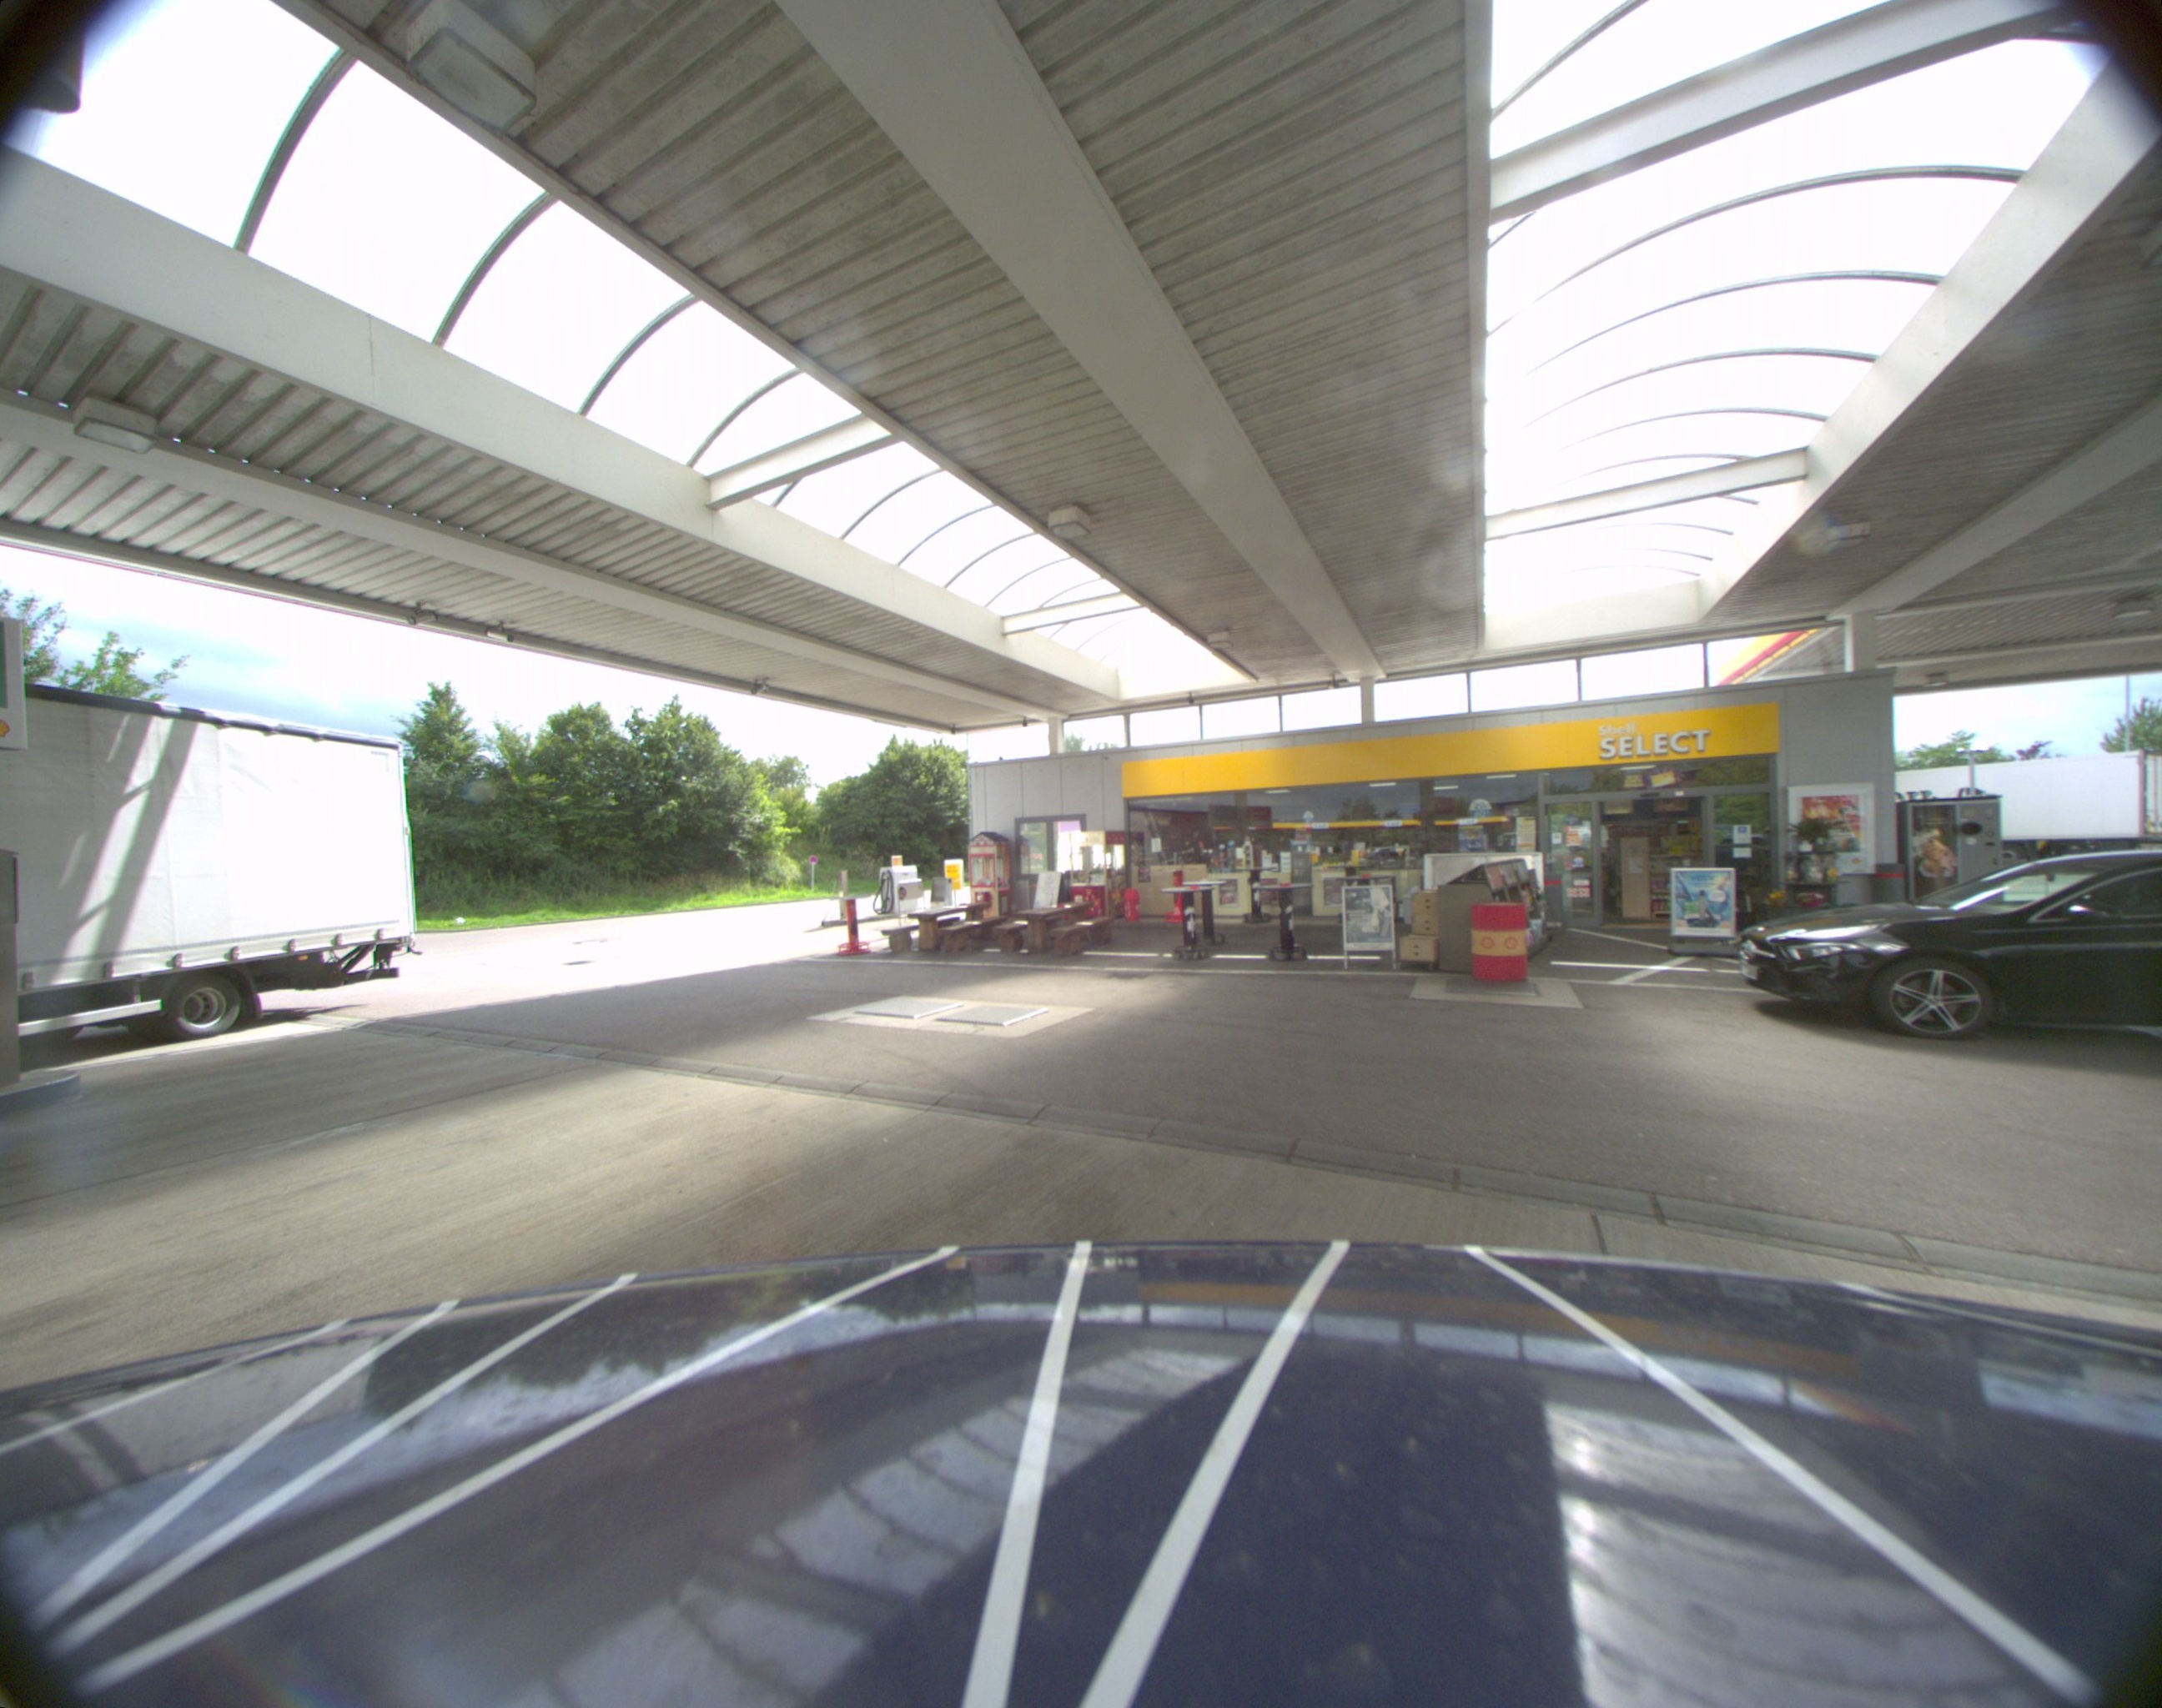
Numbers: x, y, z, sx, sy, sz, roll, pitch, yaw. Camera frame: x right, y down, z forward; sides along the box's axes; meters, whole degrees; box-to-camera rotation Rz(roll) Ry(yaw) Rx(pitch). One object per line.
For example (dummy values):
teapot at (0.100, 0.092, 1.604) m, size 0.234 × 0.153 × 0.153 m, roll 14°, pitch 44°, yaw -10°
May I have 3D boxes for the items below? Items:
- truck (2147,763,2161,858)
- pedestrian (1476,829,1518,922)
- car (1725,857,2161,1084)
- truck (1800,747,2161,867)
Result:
truck at (51.467, -2.032, 33.155) m, size 3.383 × 4.479 × 6.239 m, roll -2°, pitch 1°, yaw 29°
pedestrian at (8.701, 0.430, 15.897) m, size 0.582 × 1.895 × 0.508 m, roll -3°, pitch 1°, yaw -30°
car at (8.124, 0.818, 5.905) m, size 4.461 × 1.491 × 1.782 m, roll -2°, pitch 1°, yaw 28°
truck at (35.119, -1.607, 30.072) m, size 2.796 × 3.982 × 9.578 m, roll -2°, pitch 1°, yaw -16°
